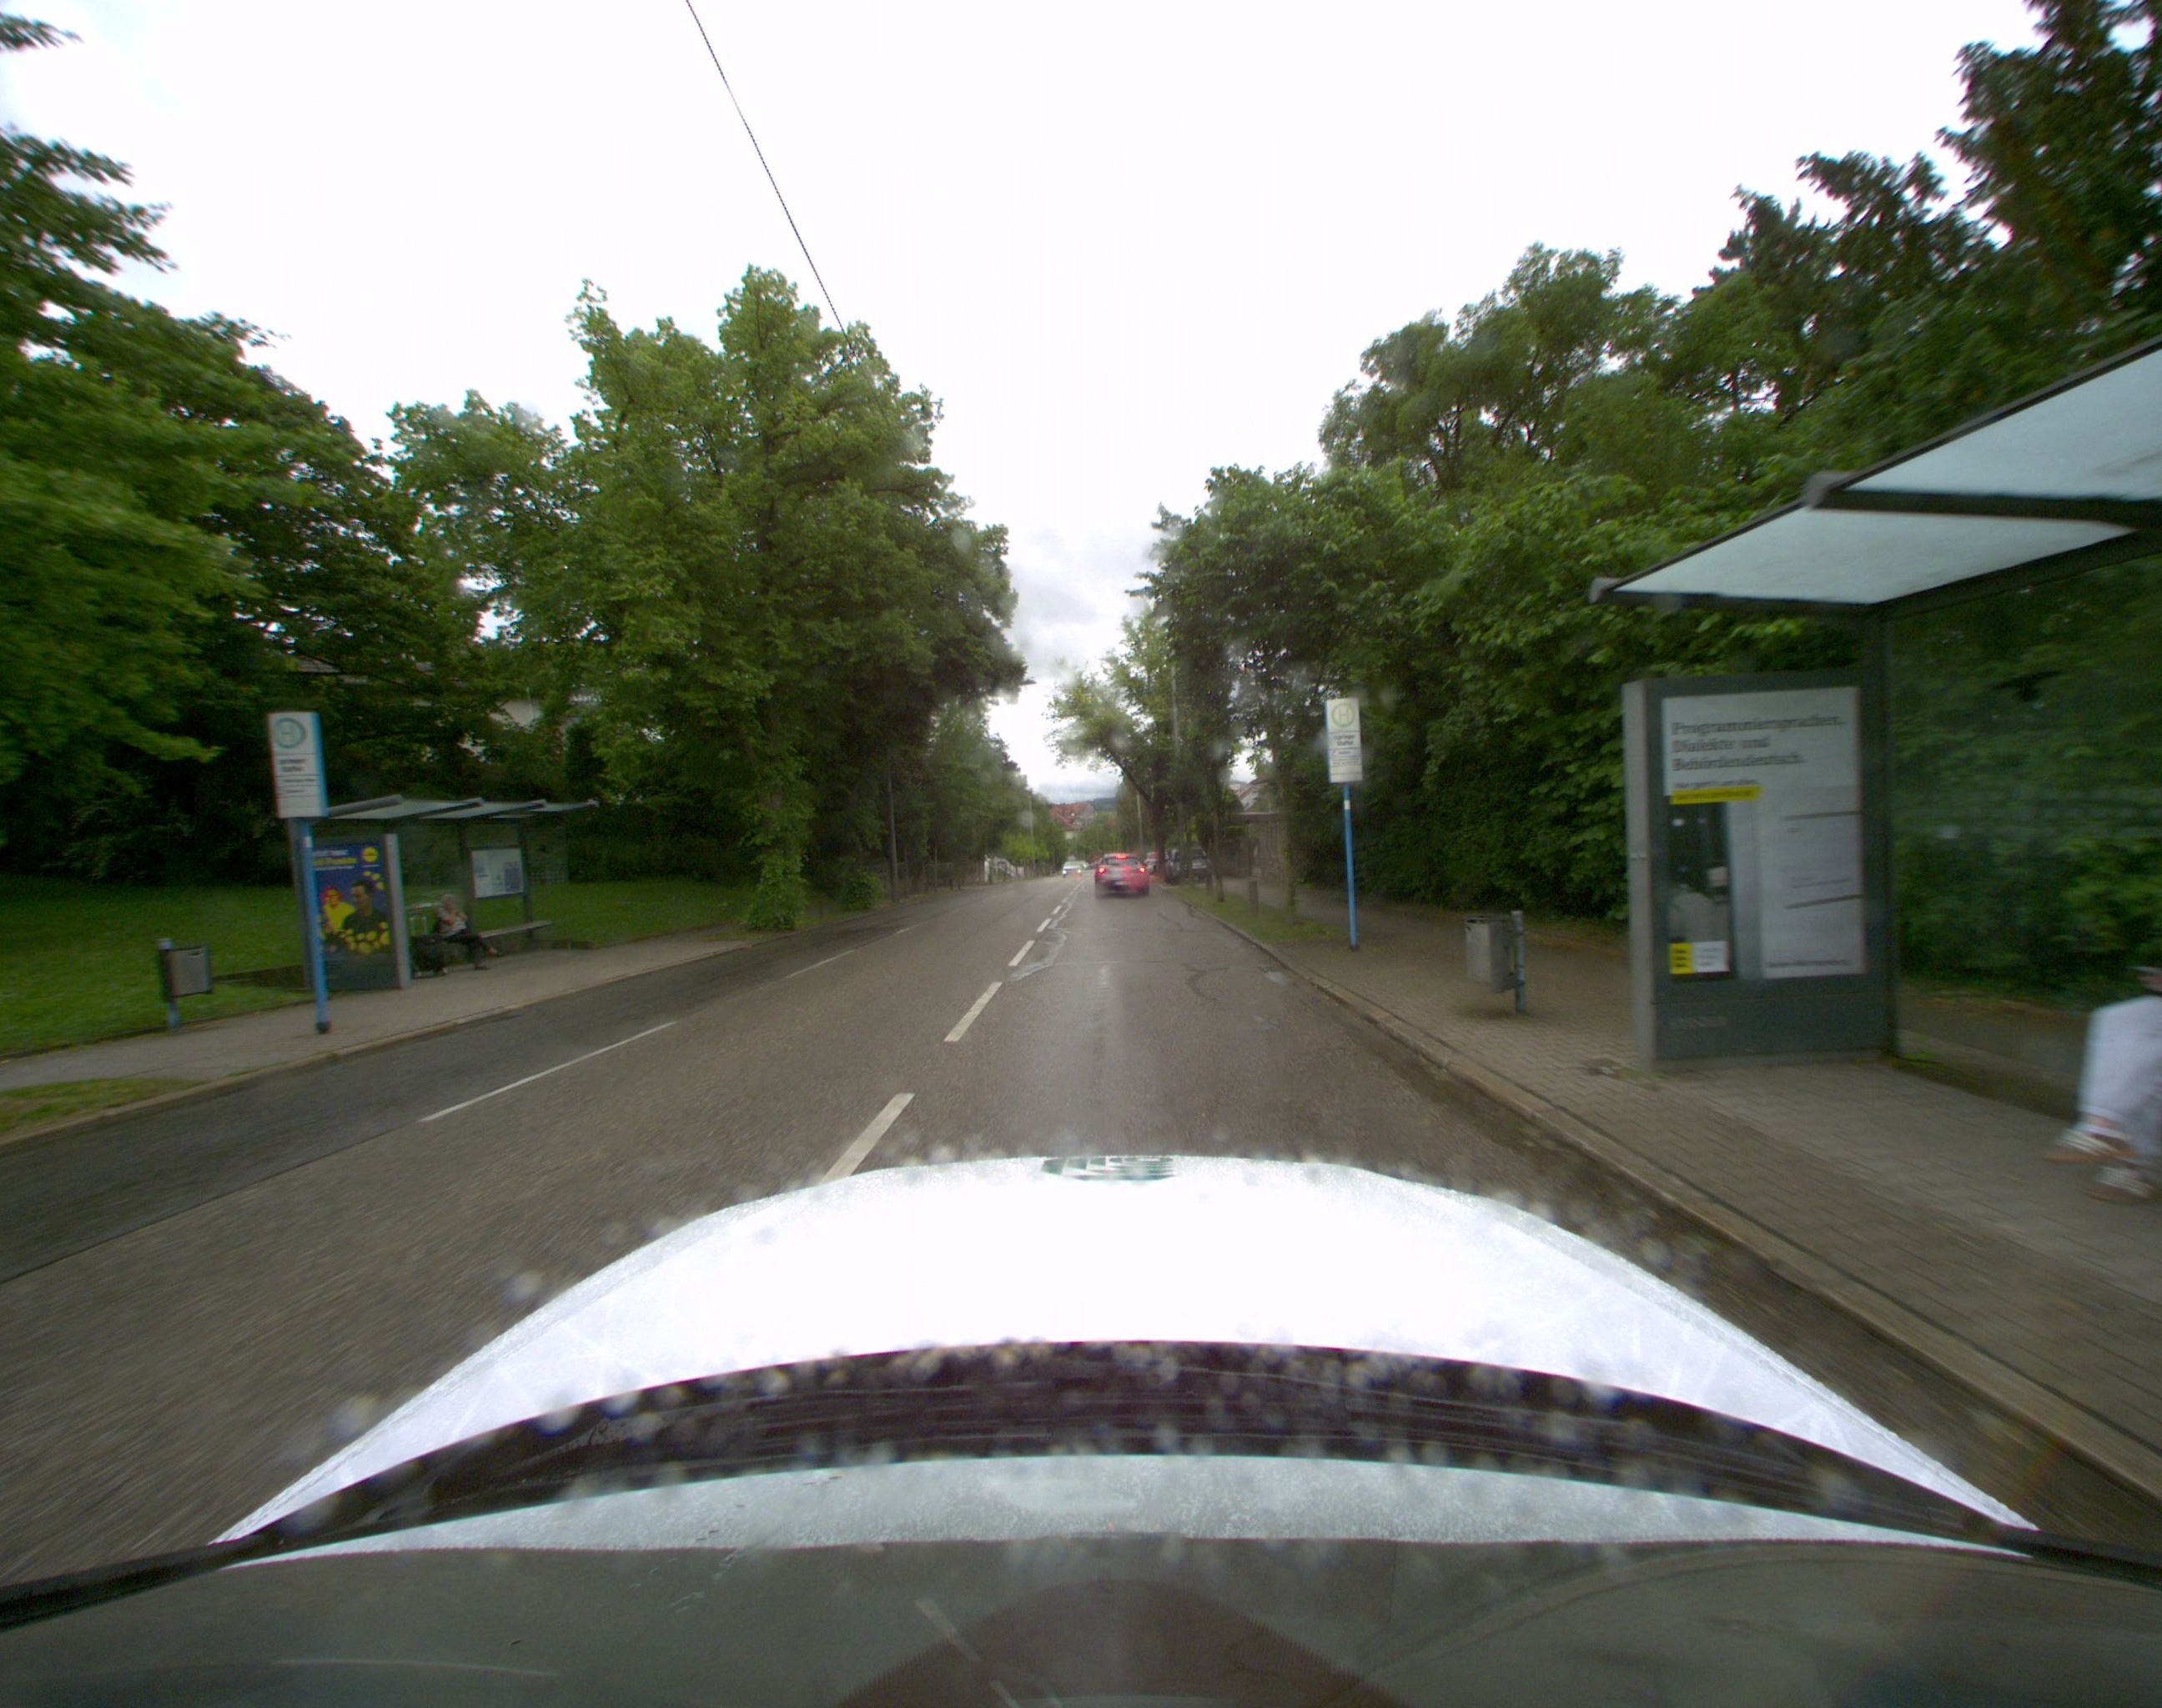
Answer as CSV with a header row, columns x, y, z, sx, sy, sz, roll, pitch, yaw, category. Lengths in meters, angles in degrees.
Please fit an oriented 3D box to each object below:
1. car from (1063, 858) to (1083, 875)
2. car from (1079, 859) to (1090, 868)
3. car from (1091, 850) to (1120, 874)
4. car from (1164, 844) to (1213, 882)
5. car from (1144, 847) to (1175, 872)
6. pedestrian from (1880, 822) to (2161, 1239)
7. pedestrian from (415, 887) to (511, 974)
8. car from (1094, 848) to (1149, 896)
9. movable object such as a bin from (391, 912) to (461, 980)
x,y,z,sx,sy,sz,roll,pitch,yaw,category
-0.759,1.128,76.754,1.715,1.464,4.002,0,1,2,car
0.690,1.716,147.995,1.714,1.464,4.004,0,-1,4,car
1.586,0.555,52.804,1.748,1.464,4.001,-1,-1,2,car
4.685,0.350,35.966,1.715,1.464,4.002,-4,1,2,car
4.911,0.306,51.215,1.715,1.464,4.002,0,1,2,car
4.110,0.587,3.148,1.067,1.355,0.920,-4,0,8,pedestrian
-10.789,1.315,14.253,0.932,1.403,0.920,0,1,8,pedestrian
1.403,0.580,28.505,1.747,1.464,4.003,-1,2,2,car
-10.866,1.515,13.522,0.758,1.043,0.500,0,1,8,movable object such as a bin
